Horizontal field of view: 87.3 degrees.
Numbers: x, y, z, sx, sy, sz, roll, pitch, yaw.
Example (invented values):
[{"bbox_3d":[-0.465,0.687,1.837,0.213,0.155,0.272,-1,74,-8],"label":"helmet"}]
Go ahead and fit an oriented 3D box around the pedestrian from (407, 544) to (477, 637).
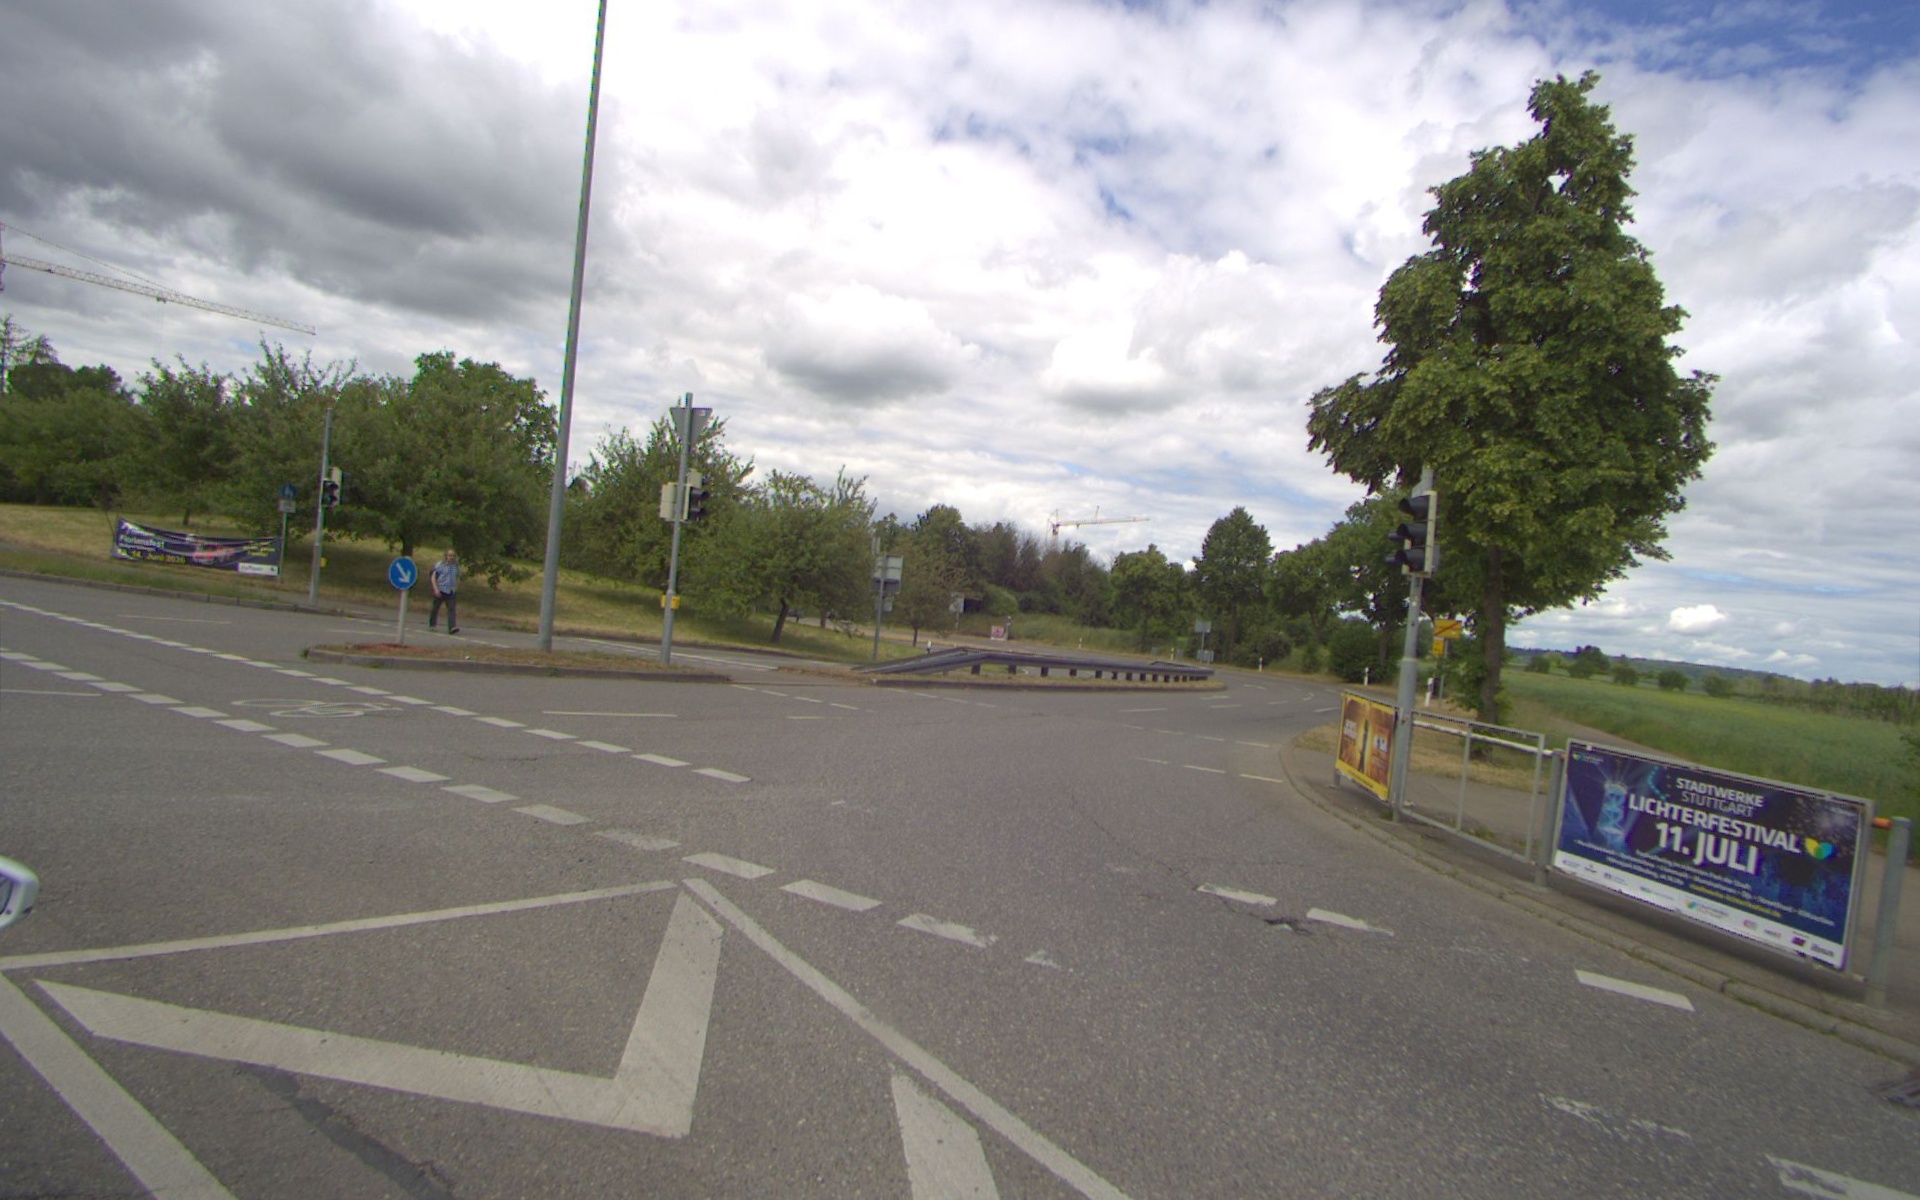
[{"bbox_3d":[-10.875,-0.202,21.125,1.027,1.814,0.719,6,-1,34],"label":"pedestrian"}]
